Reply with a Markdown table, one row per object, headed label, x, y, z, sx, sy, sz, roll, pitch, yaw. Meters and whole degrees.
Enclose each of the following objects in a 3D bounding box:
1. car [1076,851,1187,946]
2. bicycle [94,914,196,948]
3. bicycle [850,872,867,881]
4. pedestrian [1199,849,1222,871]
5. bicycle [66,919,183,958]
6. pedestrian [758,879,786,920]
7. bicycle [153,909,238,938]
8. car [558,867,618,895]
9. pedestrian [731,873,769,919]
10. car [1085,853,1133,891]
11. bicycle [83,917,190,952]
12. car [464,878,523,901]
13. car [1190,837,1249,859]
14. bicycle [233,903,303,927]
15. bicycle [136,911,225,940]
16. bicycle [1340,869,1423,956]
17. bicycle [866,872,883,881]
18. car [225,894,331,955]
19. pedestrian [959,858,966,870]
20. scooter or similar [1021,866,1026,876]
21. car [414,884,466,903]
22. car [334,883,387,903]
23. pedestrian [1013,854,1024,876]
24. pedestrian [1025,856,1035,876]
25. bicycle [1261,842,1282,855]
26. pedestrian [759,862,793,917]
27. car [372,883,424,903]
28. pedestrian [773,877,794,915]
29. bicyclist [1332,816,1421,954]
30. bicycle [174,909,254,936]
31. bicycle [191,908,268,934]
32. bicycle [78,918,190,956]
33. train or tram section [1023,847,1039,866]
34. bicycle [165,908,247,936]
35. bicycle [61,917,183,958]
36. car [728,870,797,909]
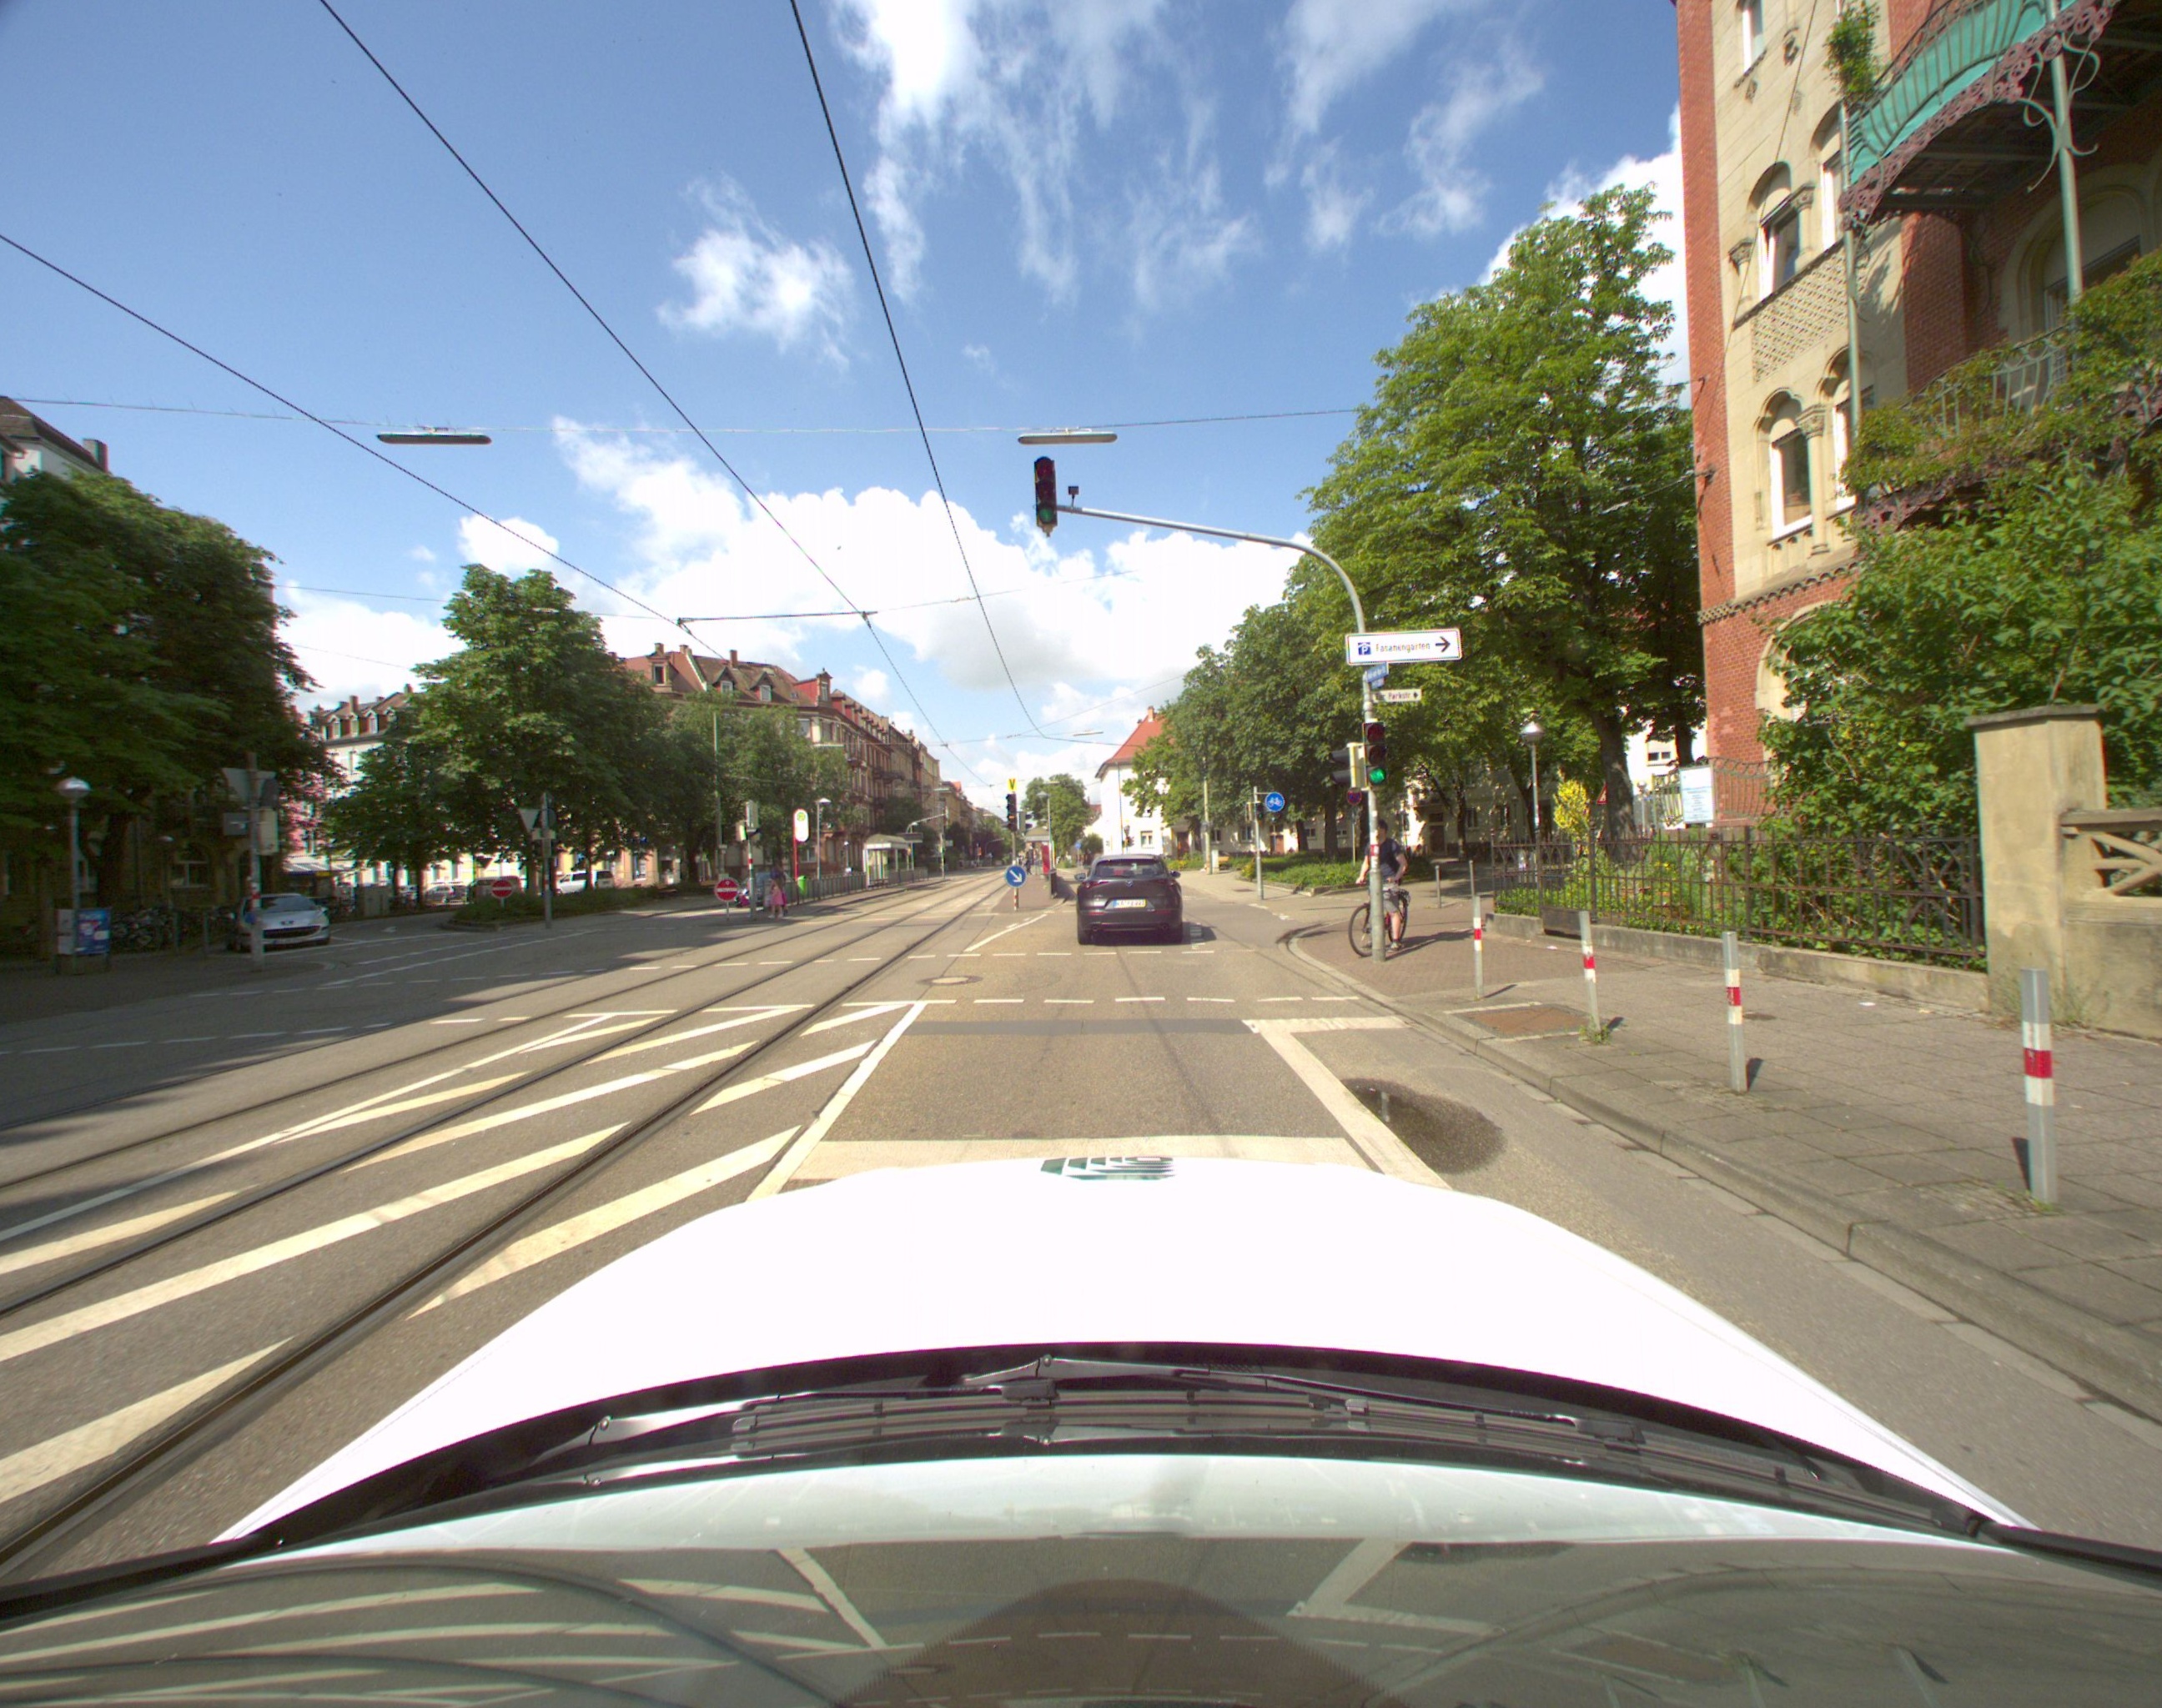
| label | x | y | z | sx | sy | sz | roll | pitch | yaw |
| --- | --- | --- | --- | --- | --- | --- | --- | --- | --- |
| car | 0.872 | 0.727 | 15.087 | 1.775 | 1.514 | 4.001 | 0 | -1 | 2 |
| bicycle | -29.040 | 2.374 | 25.313 | 0.539 | 0.882 | 2.043 | -3 | -2 | 44 |
| bicycle | -21.225 | 2.155 | 77.602 | 0.381 | 0.747 | 1.722 | -3 | 0 | 34 |
| pedestrian | 7.971 | 0.374 | 50.233 | 1.191 | 1.269 | 0.556 | -5 | 0 | -7 |
| bicycle | -26.085 | 2.280 | 22.254 | 0.505 | 0.882 | 2.043 | -3 | -2 | 44 |
| pedestrian | -8.968 | 1.313 | 23.635 | 0.640 | 1.114 | 0.442 | -2 | -1 | -7 |
| bicycle | -32.537 | 2.537 | 29.970 | 2.040 | 0.898 | 0.566 | -1 | -2 | -36 |
| car | -38.061 | 2.097 | 62.865 | 3.901 | 1.988 | 1.866 | -2 | 0 | 21 |
| pedestrian | -10.063 | 1.273 | 24.804 | 0.825 | 1.303 | 0.715 | -5 | 0 | -7 |
| car | 1.104 | 0.715 | 34.115 | 1.770 | 1.464 | 3.840 | -1 | 0 | -2 |
| bicycle | -27.866 | 2.362 | 24.087 | 0.505 | 0.882 | 2.043 | -3 | -2 | 44 |
| car | -47.472 | 2.878 | 65.784 | 3.895 | 1.663 | 1.926 | -3 | 0 | 20 |
| car | 10.776 | -0.444 | 63.506 | 4.118 | 1.509 | 1.864 | -3 | 1 | 40 |
| bicycle | -34.790 | 2.605 | 34.867 | 2.037 | 0.898 | 0.566 | -1 | -2 | -30 |
| bicycle | -31.910 | 2.515 | 28.887 | 2.040 | 0.898 | 0.540 | -1 | -2 | -37 |
| bicycle | 4.265 | 0.789 | 11.485 | 0.385 | 1.035 | 1.857 | -3 | 0 | 42 |
| bicycle | -20.110 | 2.162 | 79.282 | 0.381 | 0.747 | 1.722 | -3 | 0 | 34 |
| car | -21.931 | 1.852 | 22.198 | 3.823 | 1.420 | 1.732 | -3 | 0 | 41 |
| pedestrian | -17.355 | 1.439 | 119.112 | 0.785 | 1.688 | 0.732 | -2 | 0 | -1 |
| scooter or similar | -4.538 | 1.347 | 64.180 | 0.413 | 0.721 | 0.486 | -2 | 0 | -3 |
| car | -52.800 | 3.242 | 67.102 | 3.652 | 1.393 | 1.501 | -3 | 0 | 18 |
| car | -62.407 | 3.407 | 70.527 | 3.875 | 1.555 | 1.726 | -3 | 0 | 19 |
| pedestrian | -4.981 | 0.874 | 65.025 | 0.769 | 1.674 | 0.667 | -3 | 0 | -3 |
| pedestrian | -4.012 | 0.936 | 64.215 | 0.666 | 1.546 | 0.580 | -2 | 0 | -3 |
| bicycle | 16.255 | -0.499 | 69.551 | 0.570 | 1.020 | 1.733 | -5 | 1 | -39 |
| pedestrian | -9.039 | 1.046 | 24.154 | 0.727 | 1.565 | 0.797 | -2 | 0 | -7 |
| car | -57.866 | 3.312 | 69.034 | 3.606 | 1.494 | 1.638 | -3 | 0 | 18 |
| pedestrian | -9.023 | 1.277 | 24.733 | 0.437 | 1.108 | 0.422 | -5 | 0 | -7 |
| bicyclist | 4.120 | 0.417 | 11.378 | 0.736 | 1.819 | 0.814 | -2 | 0 | -25 |
| bicycle | -33.473 | 2.631 | 31.466 | 2.039 | 0.898 | 0.566 | -1 | -2 | -33 |
| bicycle | -34.115 | 2.679 | 32.648 | 2.037 | 0.898 | 0.566 | -1 | -2 | -30 |
| bicycle | -26.889 | 2.342 | 23.176 | 0.505 | 0.882 | 2.043 | -3 | -2 | 44 |
| train or tram section | -11.118 | 0.655 | 181.922 | 2.989 | 3.983 | 13.798 | -3 | -1 | -2 |
| bicycle | -33.044 | 2.550 | 30.798 | 2.039 | 0.898 | 0.566 | -1 | -2 | -33 |
| bicycle | -25.092 | 2.169 | 21.368 | 0.516 | 0.882 | 2.043 | -3 | -2 | 44 |
| car | -13.237 | 1.449 | 34.061 | 1.621 | 1.387 | 3.431 | -4 | 0 | -4 |
